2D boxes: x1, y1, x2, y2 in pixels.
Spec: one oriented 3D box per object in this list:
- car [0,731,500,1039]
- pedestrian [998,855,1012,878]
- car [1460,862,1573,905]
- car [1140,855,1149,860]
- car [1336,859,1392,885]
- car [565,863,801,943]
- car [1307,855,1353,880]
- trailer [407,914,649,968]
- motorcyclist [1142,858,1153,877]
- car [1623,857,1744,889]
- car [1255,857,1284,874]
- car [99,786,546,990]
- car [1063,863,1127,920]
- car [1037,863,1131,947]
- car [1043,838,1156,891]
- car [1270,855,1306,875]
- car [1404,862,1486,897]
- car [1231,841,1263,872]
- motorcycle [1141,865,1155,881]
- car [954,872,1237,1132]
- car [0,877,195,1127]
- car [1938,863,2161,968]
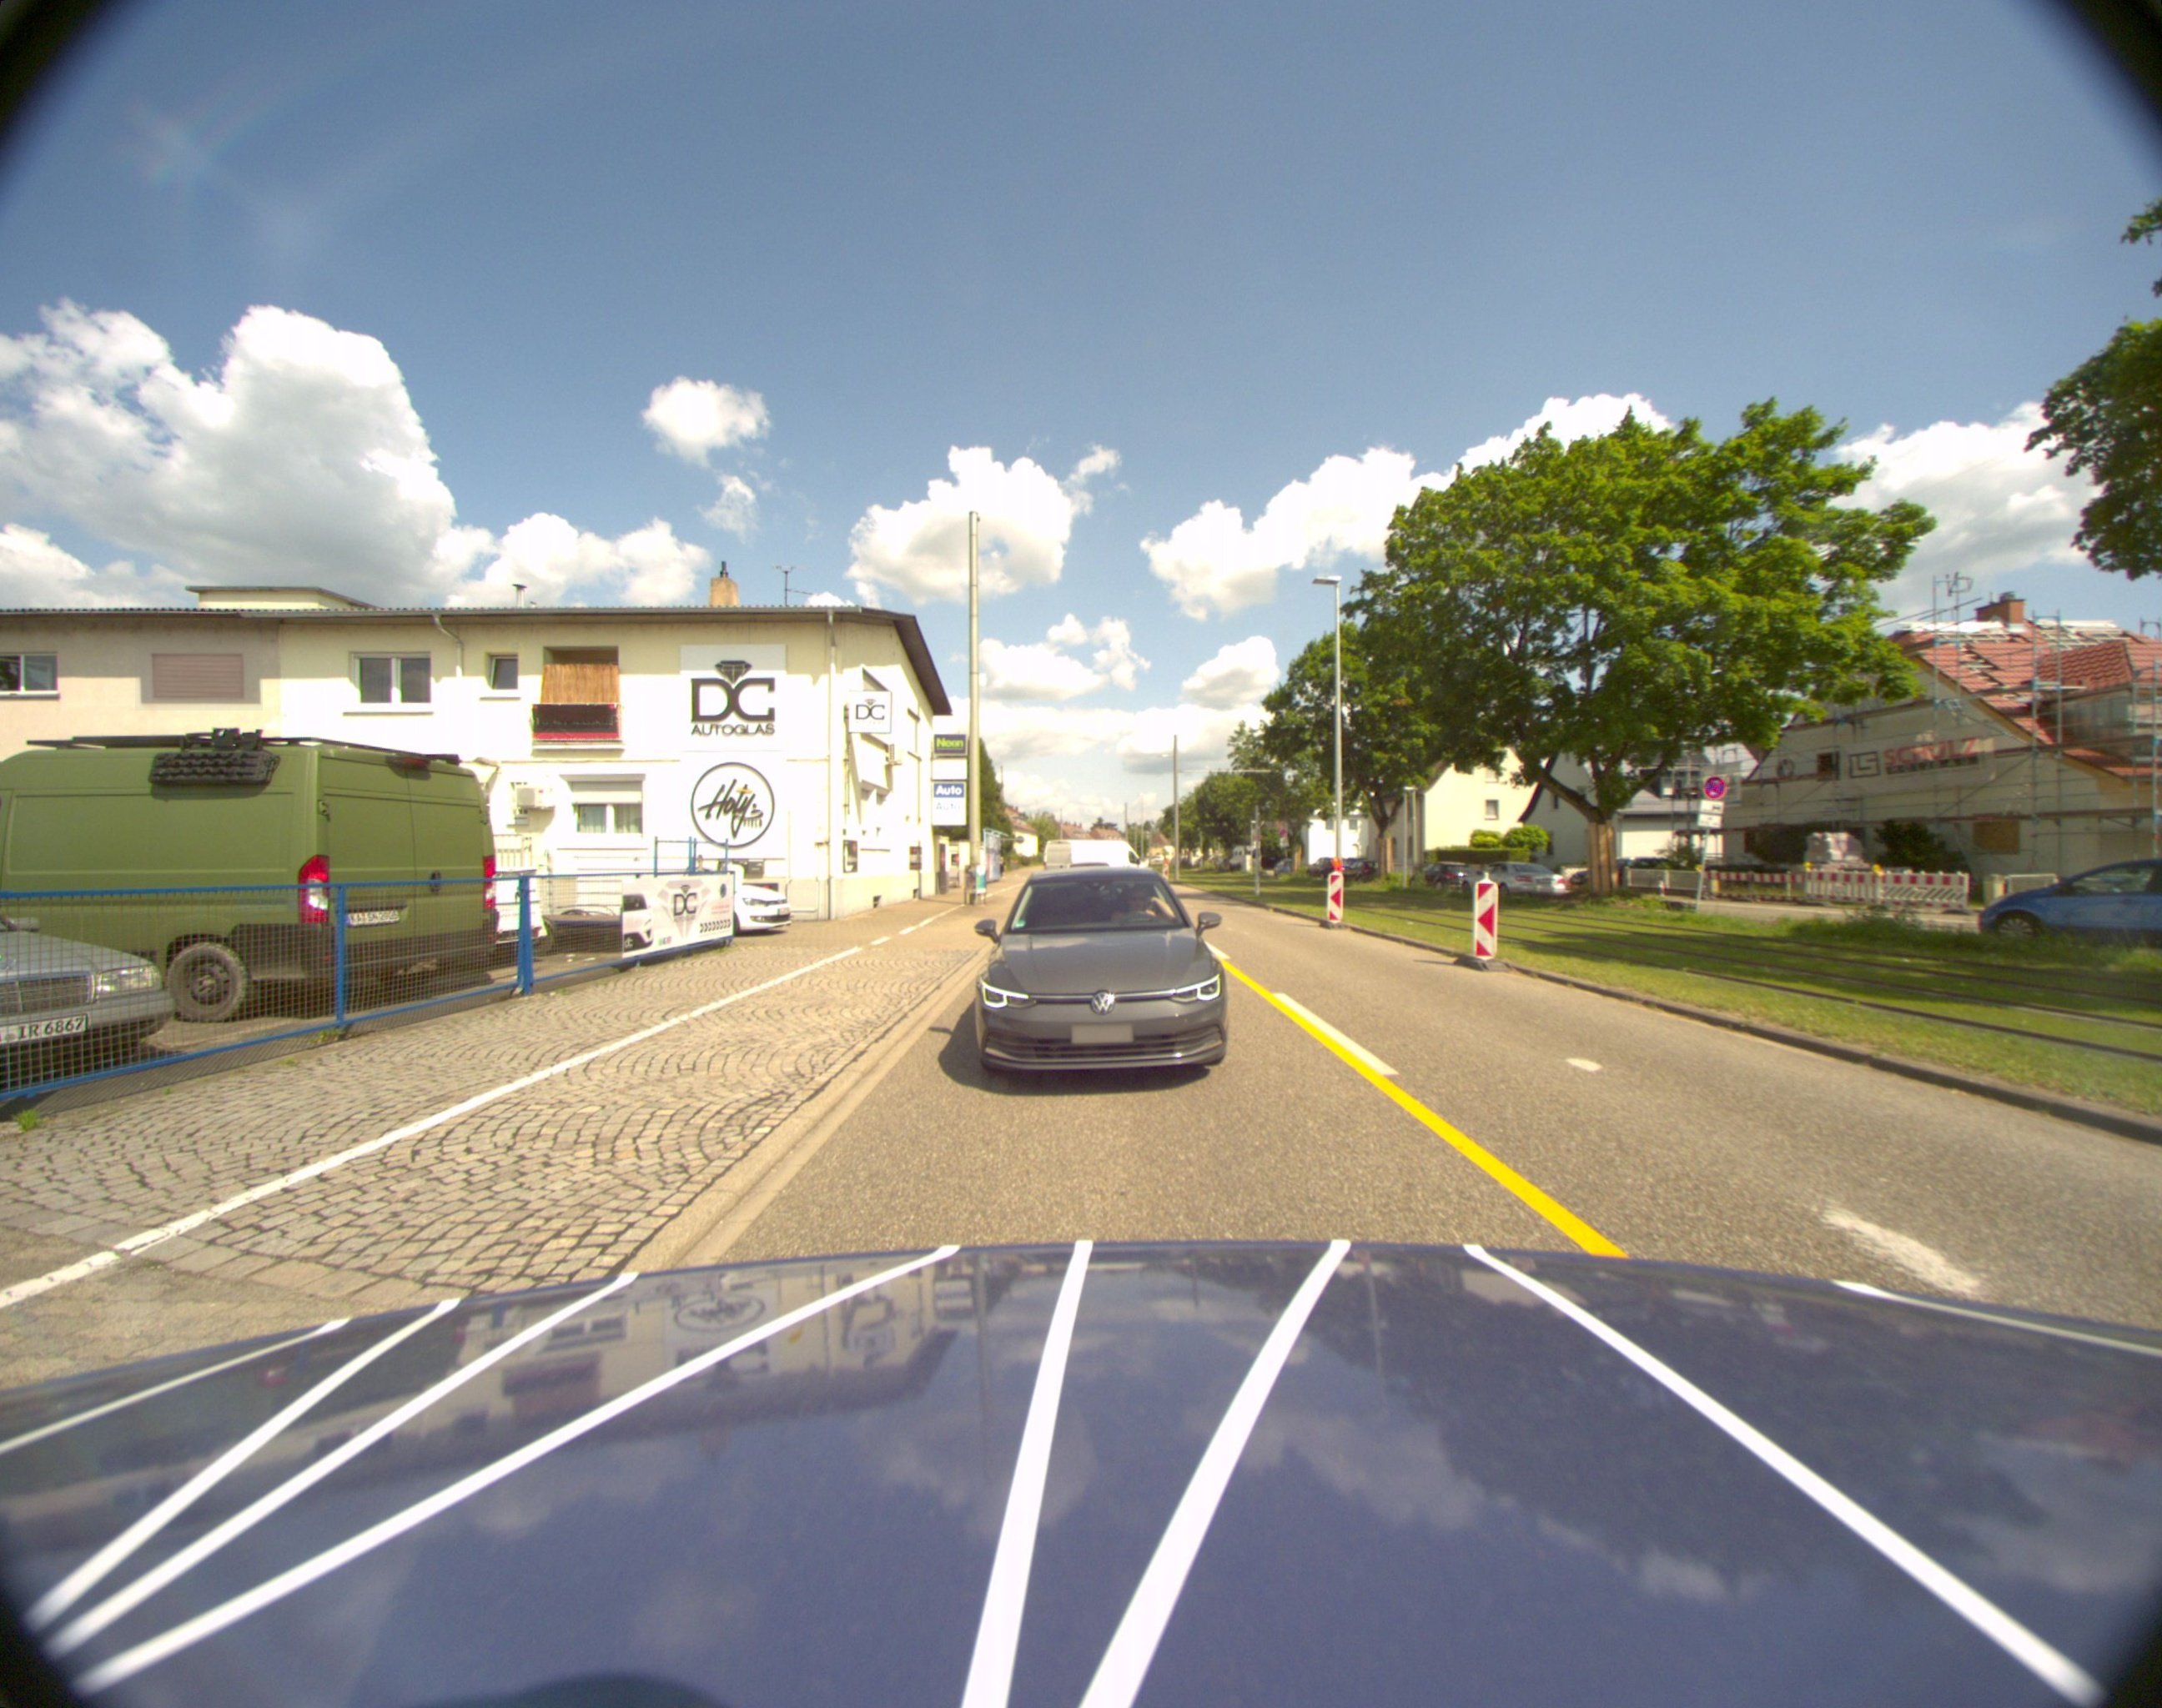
[{"bbox_3d":[-8.730,0.272,7.607,4.207,2.627,2.113,0,0,2],"label":"car"},{"bbox_3d":[-5.881,0.973,58.955,0.941,1.741,1.278,0,0,1],"label":"pedestrian"},{"bbox_3d":[16.425,1.083,28.939,1.788,1.477,4.523,-1,-1,2],"label":"car"},{"bbox_3d":[17.670,1.040,211.291,2.116,1.477,4.410,0,0,13],"label":"car"},{"bbox_3d":[16.757,1.058,45.158,1.702,1.477,4.407,-1,-1,1],"label":"car"},{"bbox_3d":[-7.650,0.915,14.814,3.775,1.454,1.555,0,0,2],"label":"car"},{"bbox_3d":[16.540,0.923,50.664,1.702,1.562,4.407,-1,-1,1],"label":"car"},{"bbox_3d":[-8.373,1.309,11.657,2.733,0.662,1.329,0,0,-1],"label":"trailer"},{"bbox_3d":[4.531,0.883,51.507,0.659,1.284,0.779,0,0,-2],"label":"motorcyclist"},{"bbox_3d":[28.895,0.914,36.516,4.402,1.477,1.704,-1,-1,1],"label":"car"},{"bbox_3d":[17.627,1.109,71.330,1.702,1.477,4.407,-1,-1,1],"label":"car"},{"bbox_3d":[-9.505,0.404,9.741,4.207,2.392,1.586,0,0,2],"label":"car"},{"bbox_3d":[0.399,1.013,22.244,1.702,1.477,4.000,0,0,1],"label":"car"},{"bbox_3d":[0.072,0.947,15.785,1.702,1.477,4.000,0,0,1],"label":"car"},{"bbox_3d":[1.032,0.519,38.259,5.854,2.449,2.086,1,0,-44],"label":"car"},{"bbox_3d":[16.627,0.903,61.284,1.702,1.477,4.407,-1,-1,1],"label":"car"},{"bbox_3d":[16.614,1.139,34.940,1.702,1.477,4.407,-1,-1,1],"label":"car"},{"bbox_3d":[16.797,0.307,77.275,2.136,3.019,5.084,-1,-1,1],"label":"car"},{"bbox_3d":[4.535,1.277,51.416,0.659,1.040,2.110,0,0,-3],"label":"motorcycle"},{"bbox_3d":[0.114,0.939,6.570,1.702,1.477,4.000,0,0,1],"label":"car"},{"bbox_3d":[-8.463,0.888,4.771,4.282,1.444,1.713,0,0,8],"label":"car"},{"bbox_3d":[16.197,0.877,11.402,1.702,1.477,4.407,-1,-1,1],"label":"car"}]
